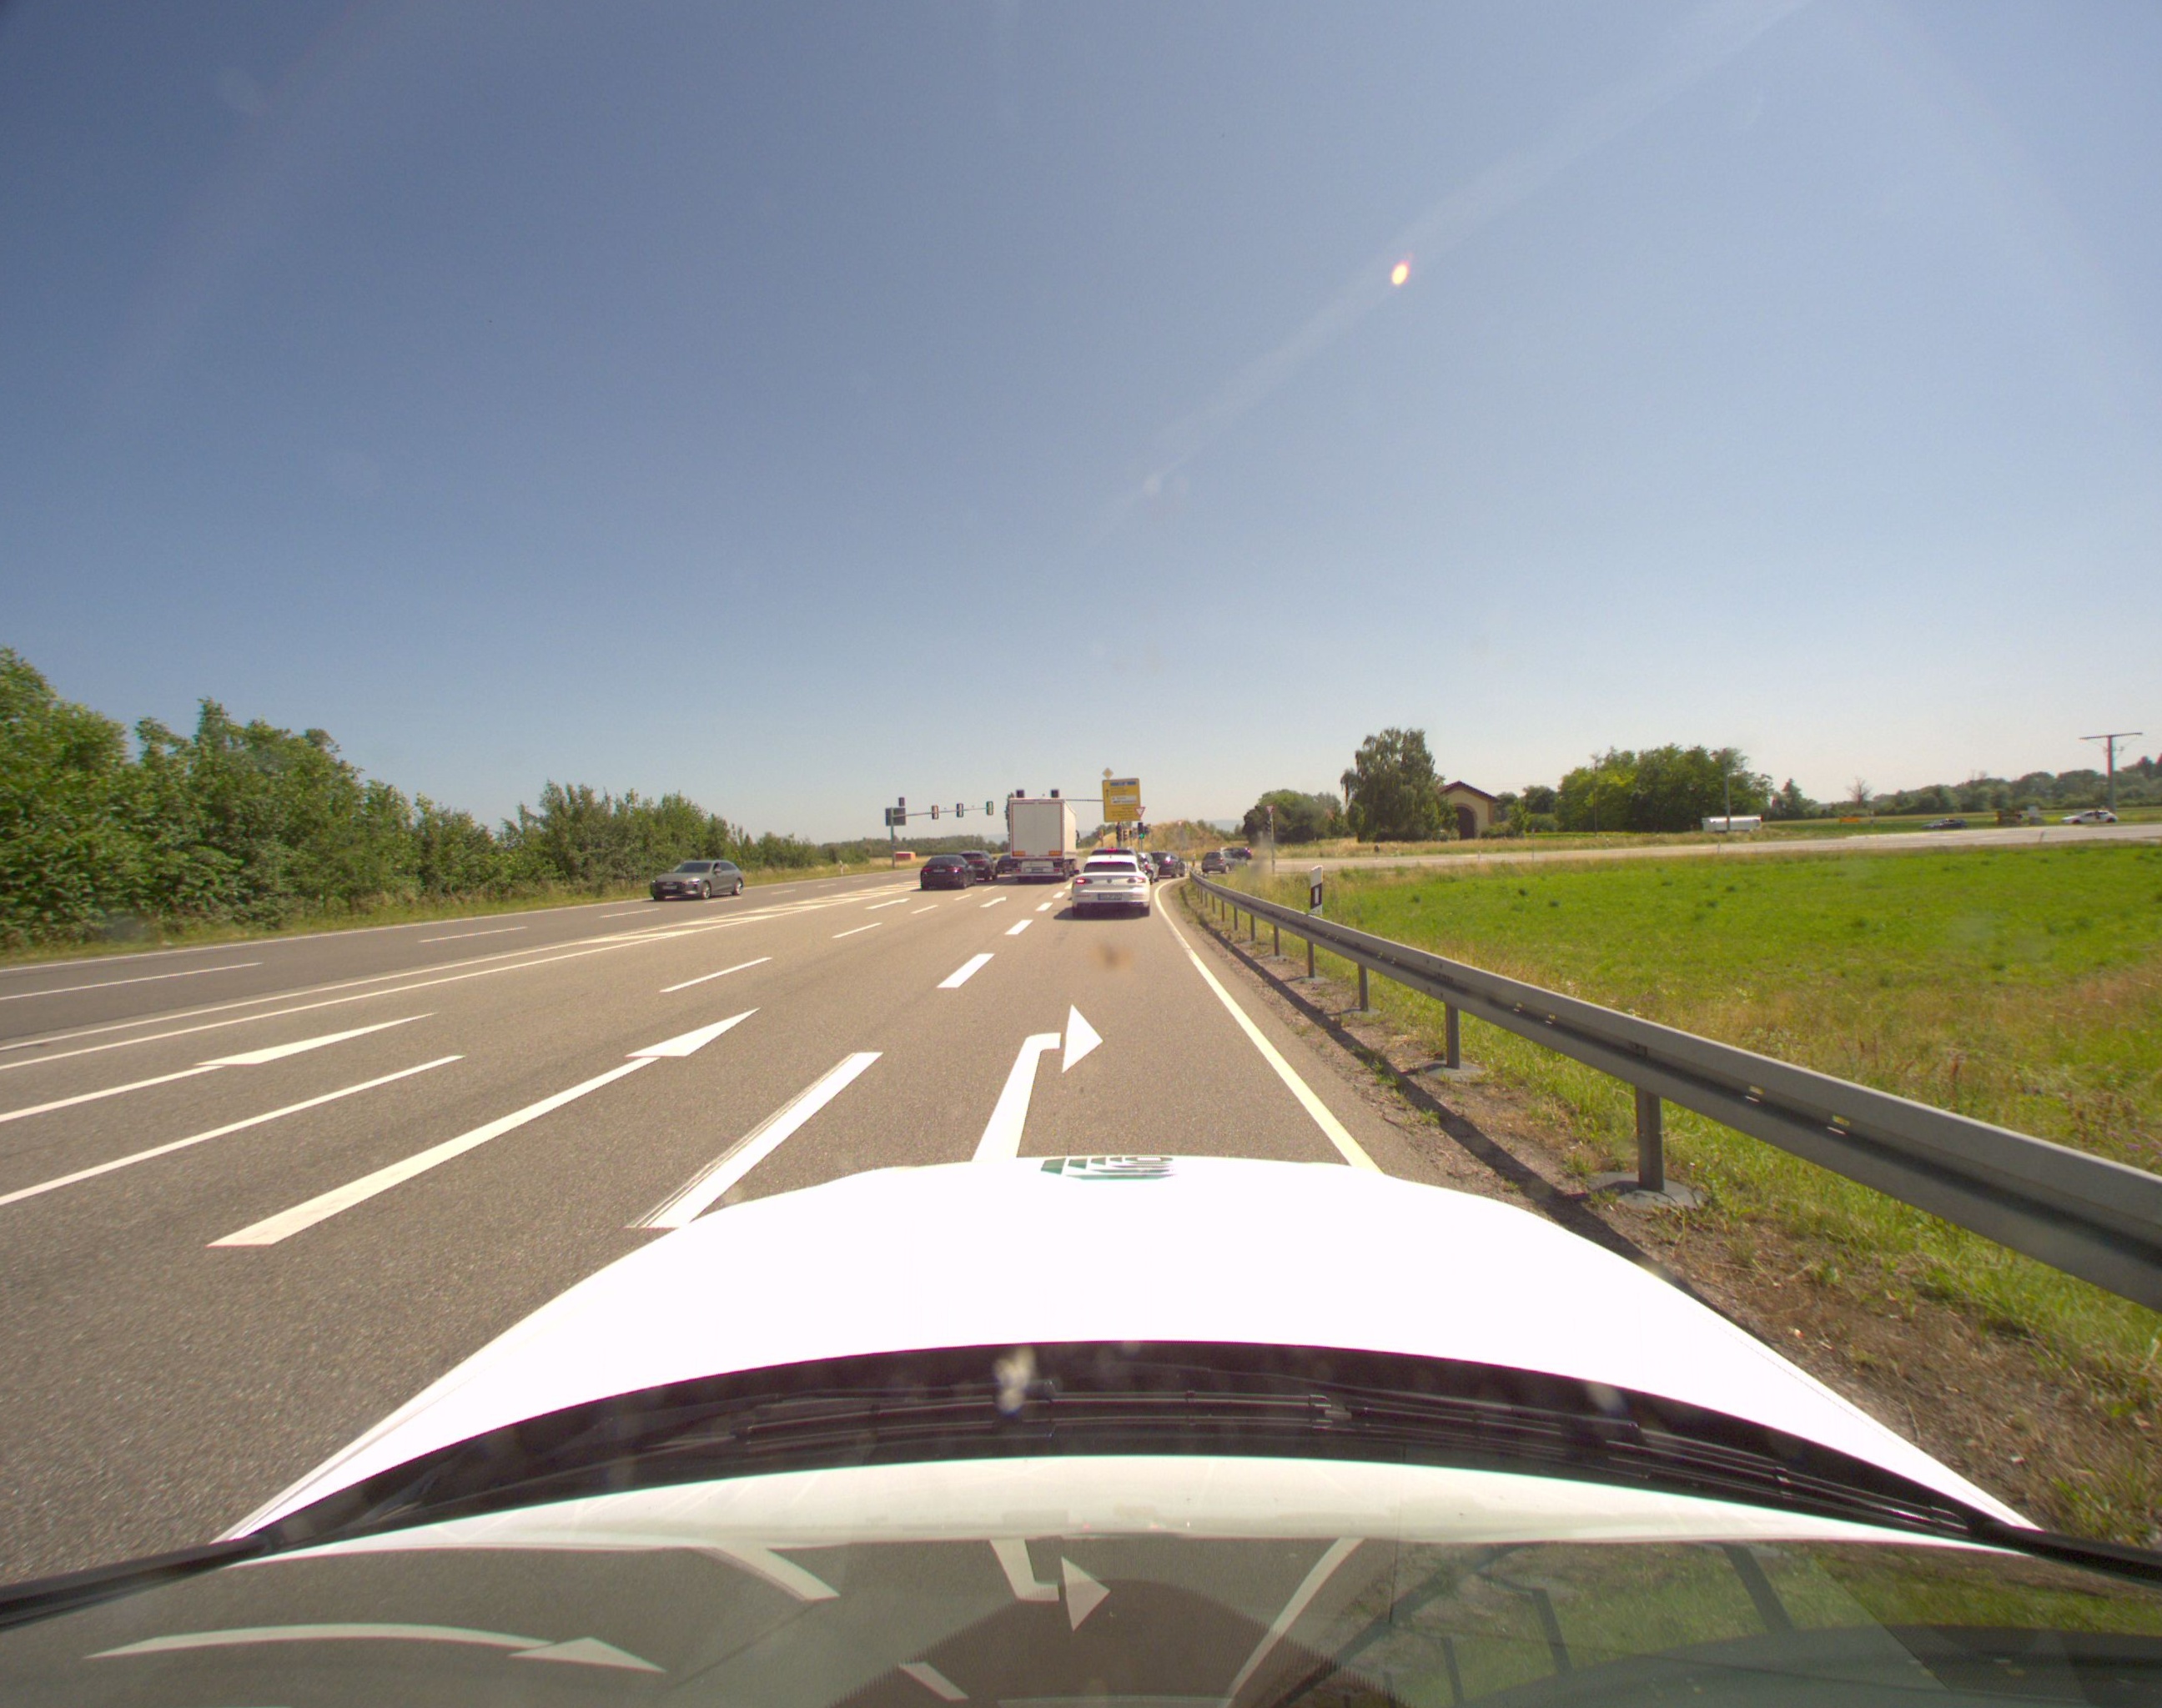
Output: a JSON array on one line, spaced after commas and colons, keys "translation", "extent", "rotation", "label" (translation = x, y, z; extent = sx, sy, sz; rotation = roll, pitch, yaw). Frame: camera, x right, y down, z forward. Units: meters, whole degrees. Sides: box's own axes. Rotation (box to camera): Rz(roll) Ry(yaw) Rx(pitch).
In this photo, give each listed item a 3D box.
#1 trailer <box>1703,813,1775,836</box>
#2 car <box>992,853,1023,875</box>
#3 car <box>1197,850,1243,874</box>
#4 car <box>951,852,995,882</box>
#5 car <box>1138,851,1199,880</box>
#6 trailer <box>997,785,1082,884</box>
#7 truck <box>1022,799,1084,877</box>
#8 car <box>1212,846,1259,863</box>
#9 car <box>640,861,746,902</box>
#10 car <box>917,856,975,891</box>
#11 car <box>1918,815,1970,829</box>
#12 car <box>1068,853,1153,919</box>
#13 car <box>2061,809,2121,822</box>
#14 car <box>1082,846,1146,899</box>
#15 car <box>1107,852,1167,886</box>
[{"translation": [78.841, -3.505, 97.664], "extent": [6.330, 2.455, 2.692], "rotation": [-3, 1, 6], "label": "trailer"}, {"translation": [-5.227, 0.664, 58.192], "extent": [1.803, 1.493, 4.021], "rotation": [-1, 0, 0], "label": "car"}, {"translation": [9.137, 0.494, 53.321], "extent": [1.783, 1.522, 3.906], "rotation": [-1, 0, 28], "label": "car"}, {"translation": [-5.702, 0.671, 43.448], "extent": [1.803, 1.493, 4.021], "rotation": [-1, 0, 0], "label": "car"}, {"translation": [4.767, 0.592, 43.930], "extent": [1.783, 1.476, 4.441], "rotation": [-1, 0, 27], "label": "car"}, {"translation": [-1.909, -0.920, 43.950], "extent": [3.368, 4.542, 12.878], "rotation": [-1, 0, 2], "label": "trailer"}, {"translation": [-1.619, -0.947, 51.049], "extent": [3.368, 4.542, 6.376], "rotation": [-1, 0, 2], "label": "truck"}, {"translation": [14.596, 0.033, 77.088], "extent": [4.240, 1.368, 1.778], "rotation": [-3, 1, 4], "label": "car"}, {"translation": [-14.579, 0.991, 30.924], "extent": [1.872, 1.398, 4.530], "rotation": [-1, 0, 0], "label": "car"}, {"translation": [-5.828, 0.814, 35.602], "extent": [1.803, 1.398, 4.021], "rotation": [-1, 0, 0], "label": "car"}, {"translation": [97.988, -3.642, 92.527], "extent": [3.803, 1.387, 1.684], "rotation": [-1, 2, 9], "label": "car"}, {"translation": [0.734, 0.719, 20.310], "extent": [1.841, 1.433, 4.610], "rotation": [-1, 0, 2], "label": "car"}, {"translation": [110.896, -4.227, 89.460], "extent": [3.987, 1.332, 1.707], "rotation": [0, 3, 45], "label": "car"}, {"translation": [1.202, 0.578, 27.672], "extent": [1.925, 1.616, 4.385], "rotation": [-1, 0, 5], "label": "car"}, {"translation": [2.582, 0.632, 36.910], "extent": [1.785, 1.429, 4.111], "rotation": [-1, 0, 17], "label": "car"}]
